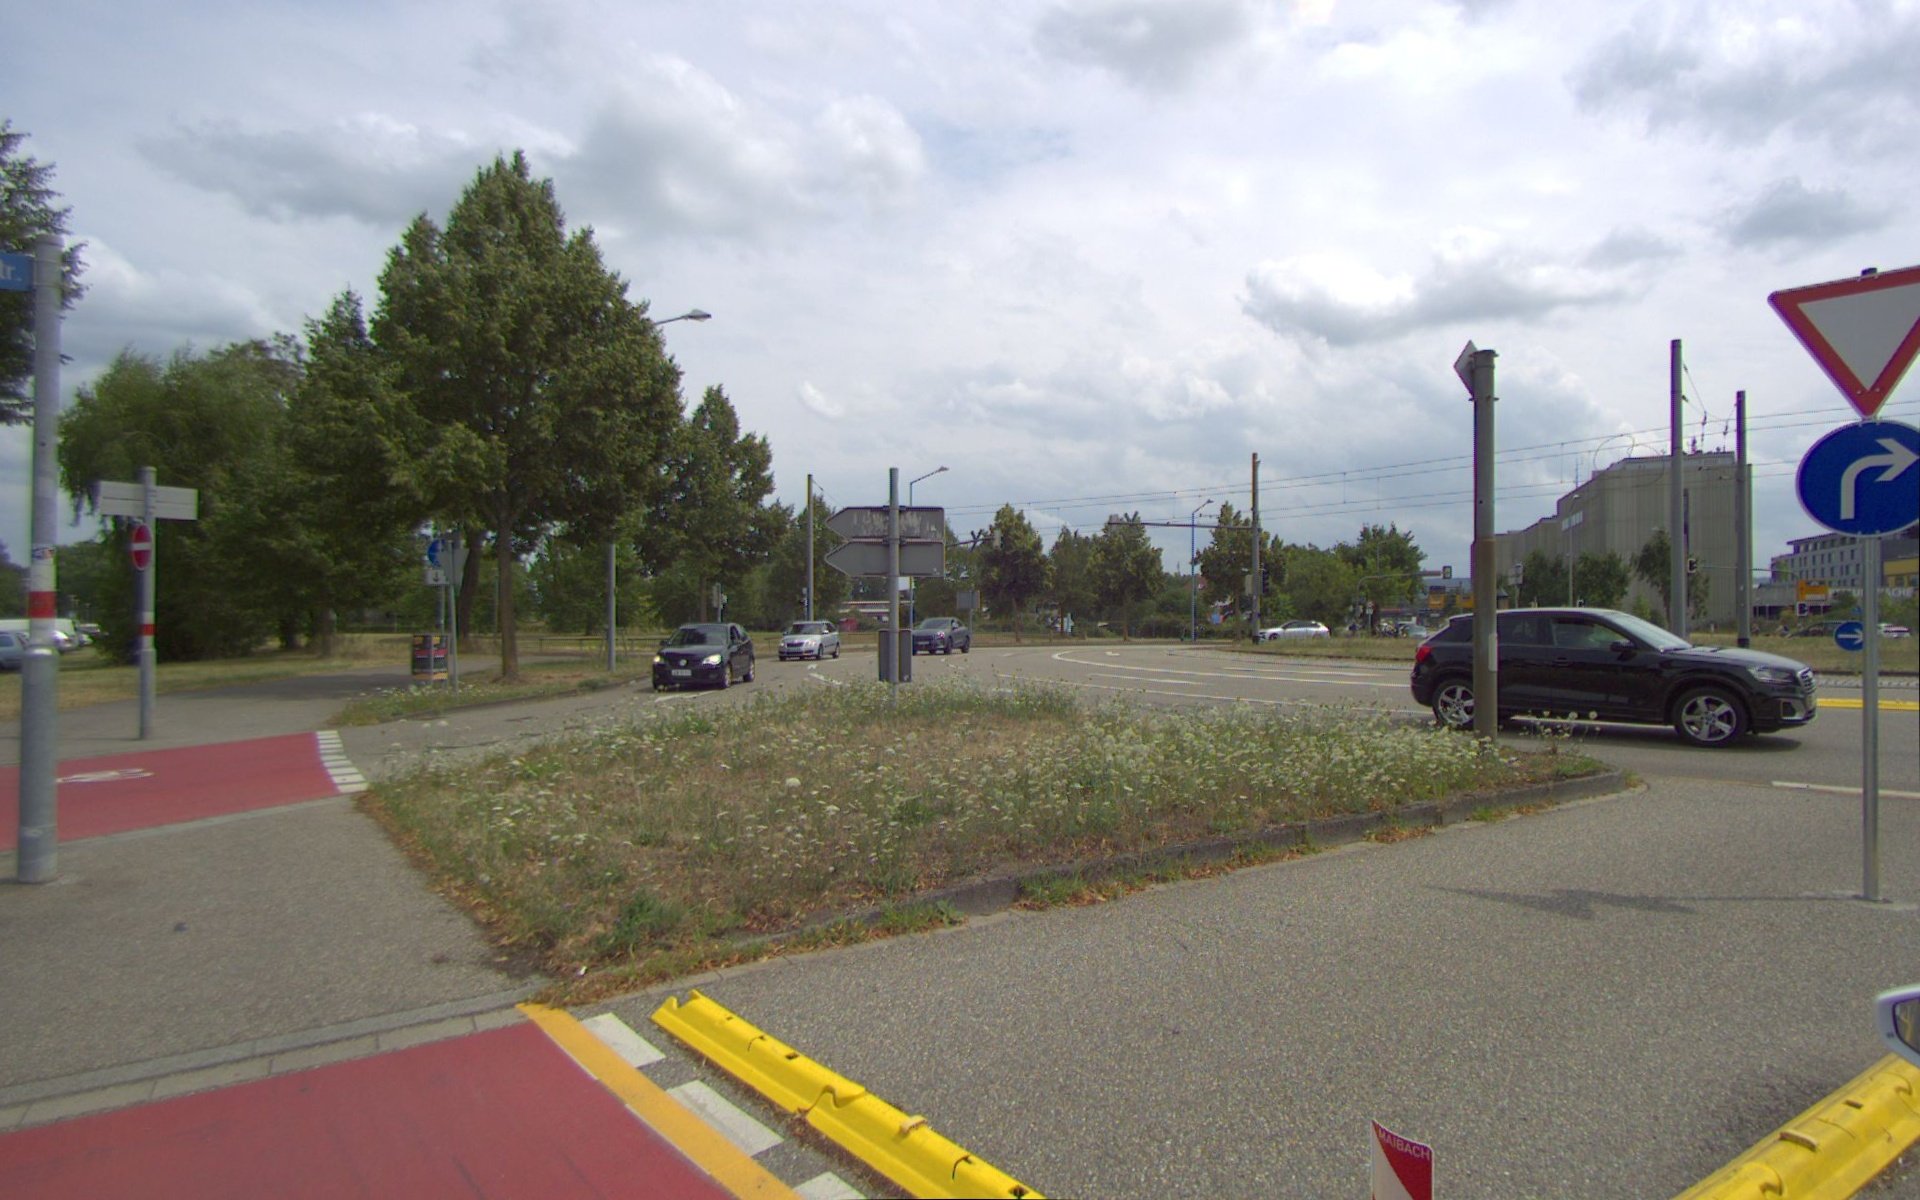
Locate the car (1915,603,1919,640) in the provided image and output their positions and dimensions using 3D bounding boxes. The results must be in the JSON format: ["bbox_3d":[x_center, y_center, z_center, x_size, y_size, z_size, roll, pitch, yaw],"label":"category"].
[{"bbox_3d":[56.266,1.253,55.844,1.981,2.040,4.317,2,-1,-36],"label":"car"}]

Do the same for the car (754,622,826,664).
[{"bbox_3d":[-6.634,1.613,38.870,1.608,1.539,4.189,0,-1,-27],"label":"car"}]

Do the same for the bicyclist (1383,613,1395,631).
[{"bbox_3d":[34.607,1.802,81.084,0.660,1.428,0.864,0,-1,4],"label":"bicyclist"}]

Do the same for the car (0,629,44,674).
[{"bbox_3d":[-33.839,1.731,33.414,4.847,1.491,1.812,1,-1,-39],"label":"car"}]

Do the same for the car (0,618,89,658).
[{"bbox_3d":[-49.376,1.966,52.667,5.527,2.083,2.175,1,-1,-41],"label":"car"}]

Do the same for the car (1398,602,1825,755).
[{"bbox_3d":[7.748,0.831,12.224,1.729,1.539,4.093,1,-1,-44],"label":"car"}]

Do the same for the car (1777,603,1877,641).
[{"bbox_3d":[48.854,1.226,56.735,1.963,2.040,3.996,2,-1,-6],"label":"car"}]

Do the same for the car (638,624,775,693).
[{"bbox_3d":[-5.674,1.283,22.914,1.599,1.433,3.724,-2,-2,10],"label":"car"}]

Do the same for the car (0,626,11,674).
[{"bbox_3d":[-30.112,1.555,29.697,1.464,1.442,2.898,-2,0,44],"label":"car"}]

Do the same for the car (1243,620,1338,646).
[{"bbox_3d":[19.903,1.989,60.683,5.082,1.502,2.000,0,-1,-1],"label":"car"}]

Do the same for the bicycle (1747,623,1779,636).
[{"bbox_3d":[58.008,2.144,72.585,1.807,0.889,0.528,-1,-1,40],"label":"bicycle"}]

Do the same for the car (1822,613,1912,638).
[{"bbox_3d":[57.253,1.616,63.512,1.800,1.483,3.995,2,-1,-8],"label":"car"}]

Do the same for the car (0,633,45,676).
[{"bbox_3d":[-35.418,1.918,35.187,4.847,1.491,1.812,1,-1,-39],"label":"car"}]

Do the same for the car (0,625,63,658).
[{"bbox_3d":[-44.656,1.936,46.712,4.275,1.491,1.812,1,-1,-39],"label":"car"}]

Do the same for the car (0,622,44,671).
[{"bbox_3d":[-31.899,1.539,31.472,4.671,1.491,1.811,-2,1,-42],"label":"car"}]

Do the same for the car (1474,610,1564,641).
[{"bbox_3d":[33.559,1.516,60.443,4.267,1.687,1.940,-2,-1,10],"label":"car"}]

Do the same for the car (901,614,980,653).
[{"bbox_3d":[-0.774,1.428,43.879,2.024,1.572,4.475,-1,-1,20],"label":"car"}]

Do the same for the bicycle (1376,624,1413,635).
[{"bbox_3d":[35.045,2.396,81.034,2.605,0.866,0.864,0,-1,4],"label":"bicycle"}]

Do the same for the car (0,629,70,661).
[{"bbox_3d":[-46.182,2.182,48.818,4.275,1.491,1.812,1,-1,-39],"label":"car"}]

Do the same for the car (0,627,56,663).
[{"bbox_3d":[-41.434,1.895,42.693,4.350,1.491,1.812,1,-1,-39],"label":"car"}]
